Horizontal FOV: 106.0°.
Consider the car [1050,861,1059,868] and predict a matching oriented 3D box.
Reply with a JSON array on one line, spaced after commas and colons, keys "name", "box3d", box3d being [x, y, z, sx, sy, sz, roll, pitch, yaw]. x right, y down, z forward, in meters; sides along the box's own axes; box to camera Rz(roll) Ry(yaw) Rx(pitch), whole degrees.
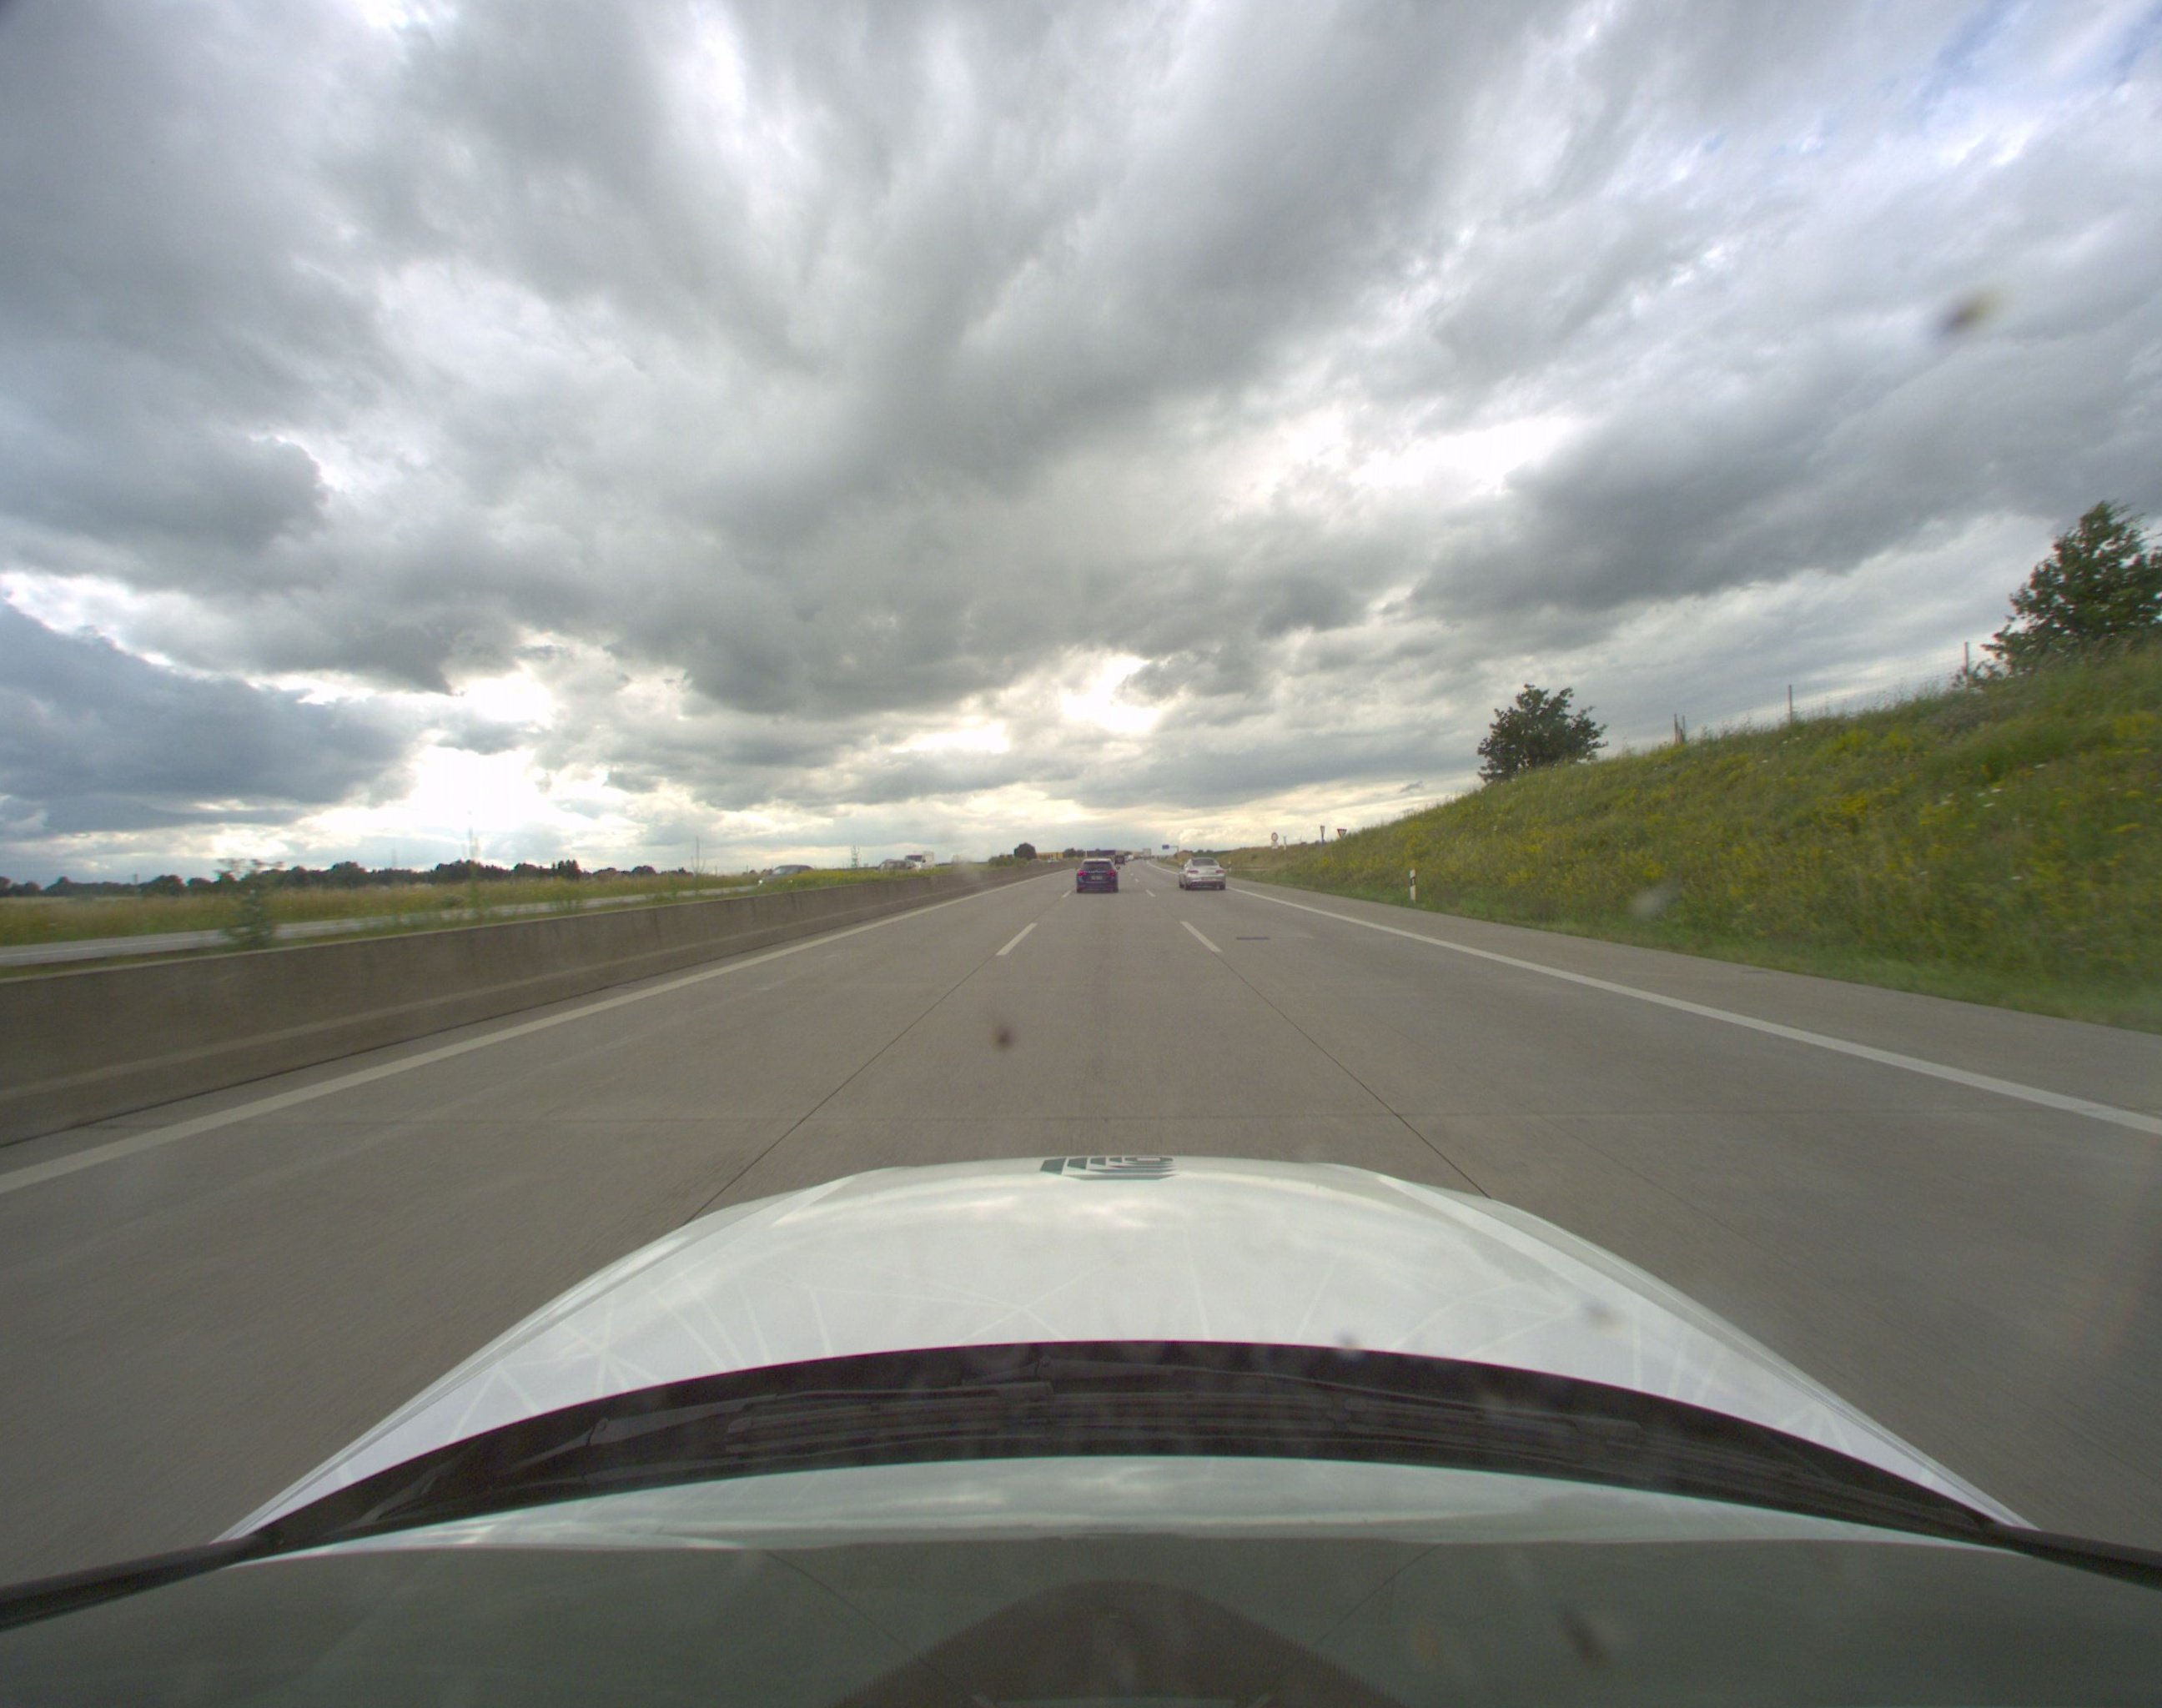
[{"name": "car", "box3d": [-6.247, 2.466, 191.780, 1.771, 1.507, 4.520, 0, -1, 3]}]

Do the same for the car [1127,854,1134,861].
[{"name": "car", "box3d": [14.799, 1.127, 244.609, 1.985, 2.014, 4.003, 0, -1, 3]}]

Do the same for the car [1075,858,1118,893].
[{"name": "car", "box3d": [0.682, 0.908, 35.432, 1.768, 1.413, 4.001, -1, -1, 1]}]

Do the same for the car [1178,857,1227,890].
[{"name": "car", "box3d": [5.475, 0.855, 37.172, 1.781, 1.403, 4.224, -1, -1, 3]}]

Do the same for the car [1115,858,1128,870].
[{"name": "car", "box3d": [6.959, 1.812, 141.687, 1.988, 2.014, 3.997, 0, -1, -1]}]

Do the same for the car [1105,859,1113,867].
[{"name": "car", "box3d": [6.656, 2.122, 193.670, 2.038, 2.014, 4.002, 0, -1, 2]}]

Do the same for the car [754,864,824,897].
[{"name": "car", "box3d": [-14.198, 1.244, 39.841, 1.849, 1.464, 4.002, -1, 0, 2]}]

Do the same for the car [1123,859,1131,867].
[{"name": "car", "box3d": [11.096, 2.125, 196.285, 1.984, 2.014, 4.005, 0, 0, 4]}]

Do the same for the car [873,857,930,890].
[{"name": "car", "box3d": [-10.201, 1.068, 46.640, 1.986, 1.781, 4.933, -1, 0, 2]}]

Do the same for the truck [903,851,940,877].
[{"name": "truck", "box3d": [-16.377, 1.061, 84.040, 2.136, 2.567, 7.451, 0, -1, 2]}]
